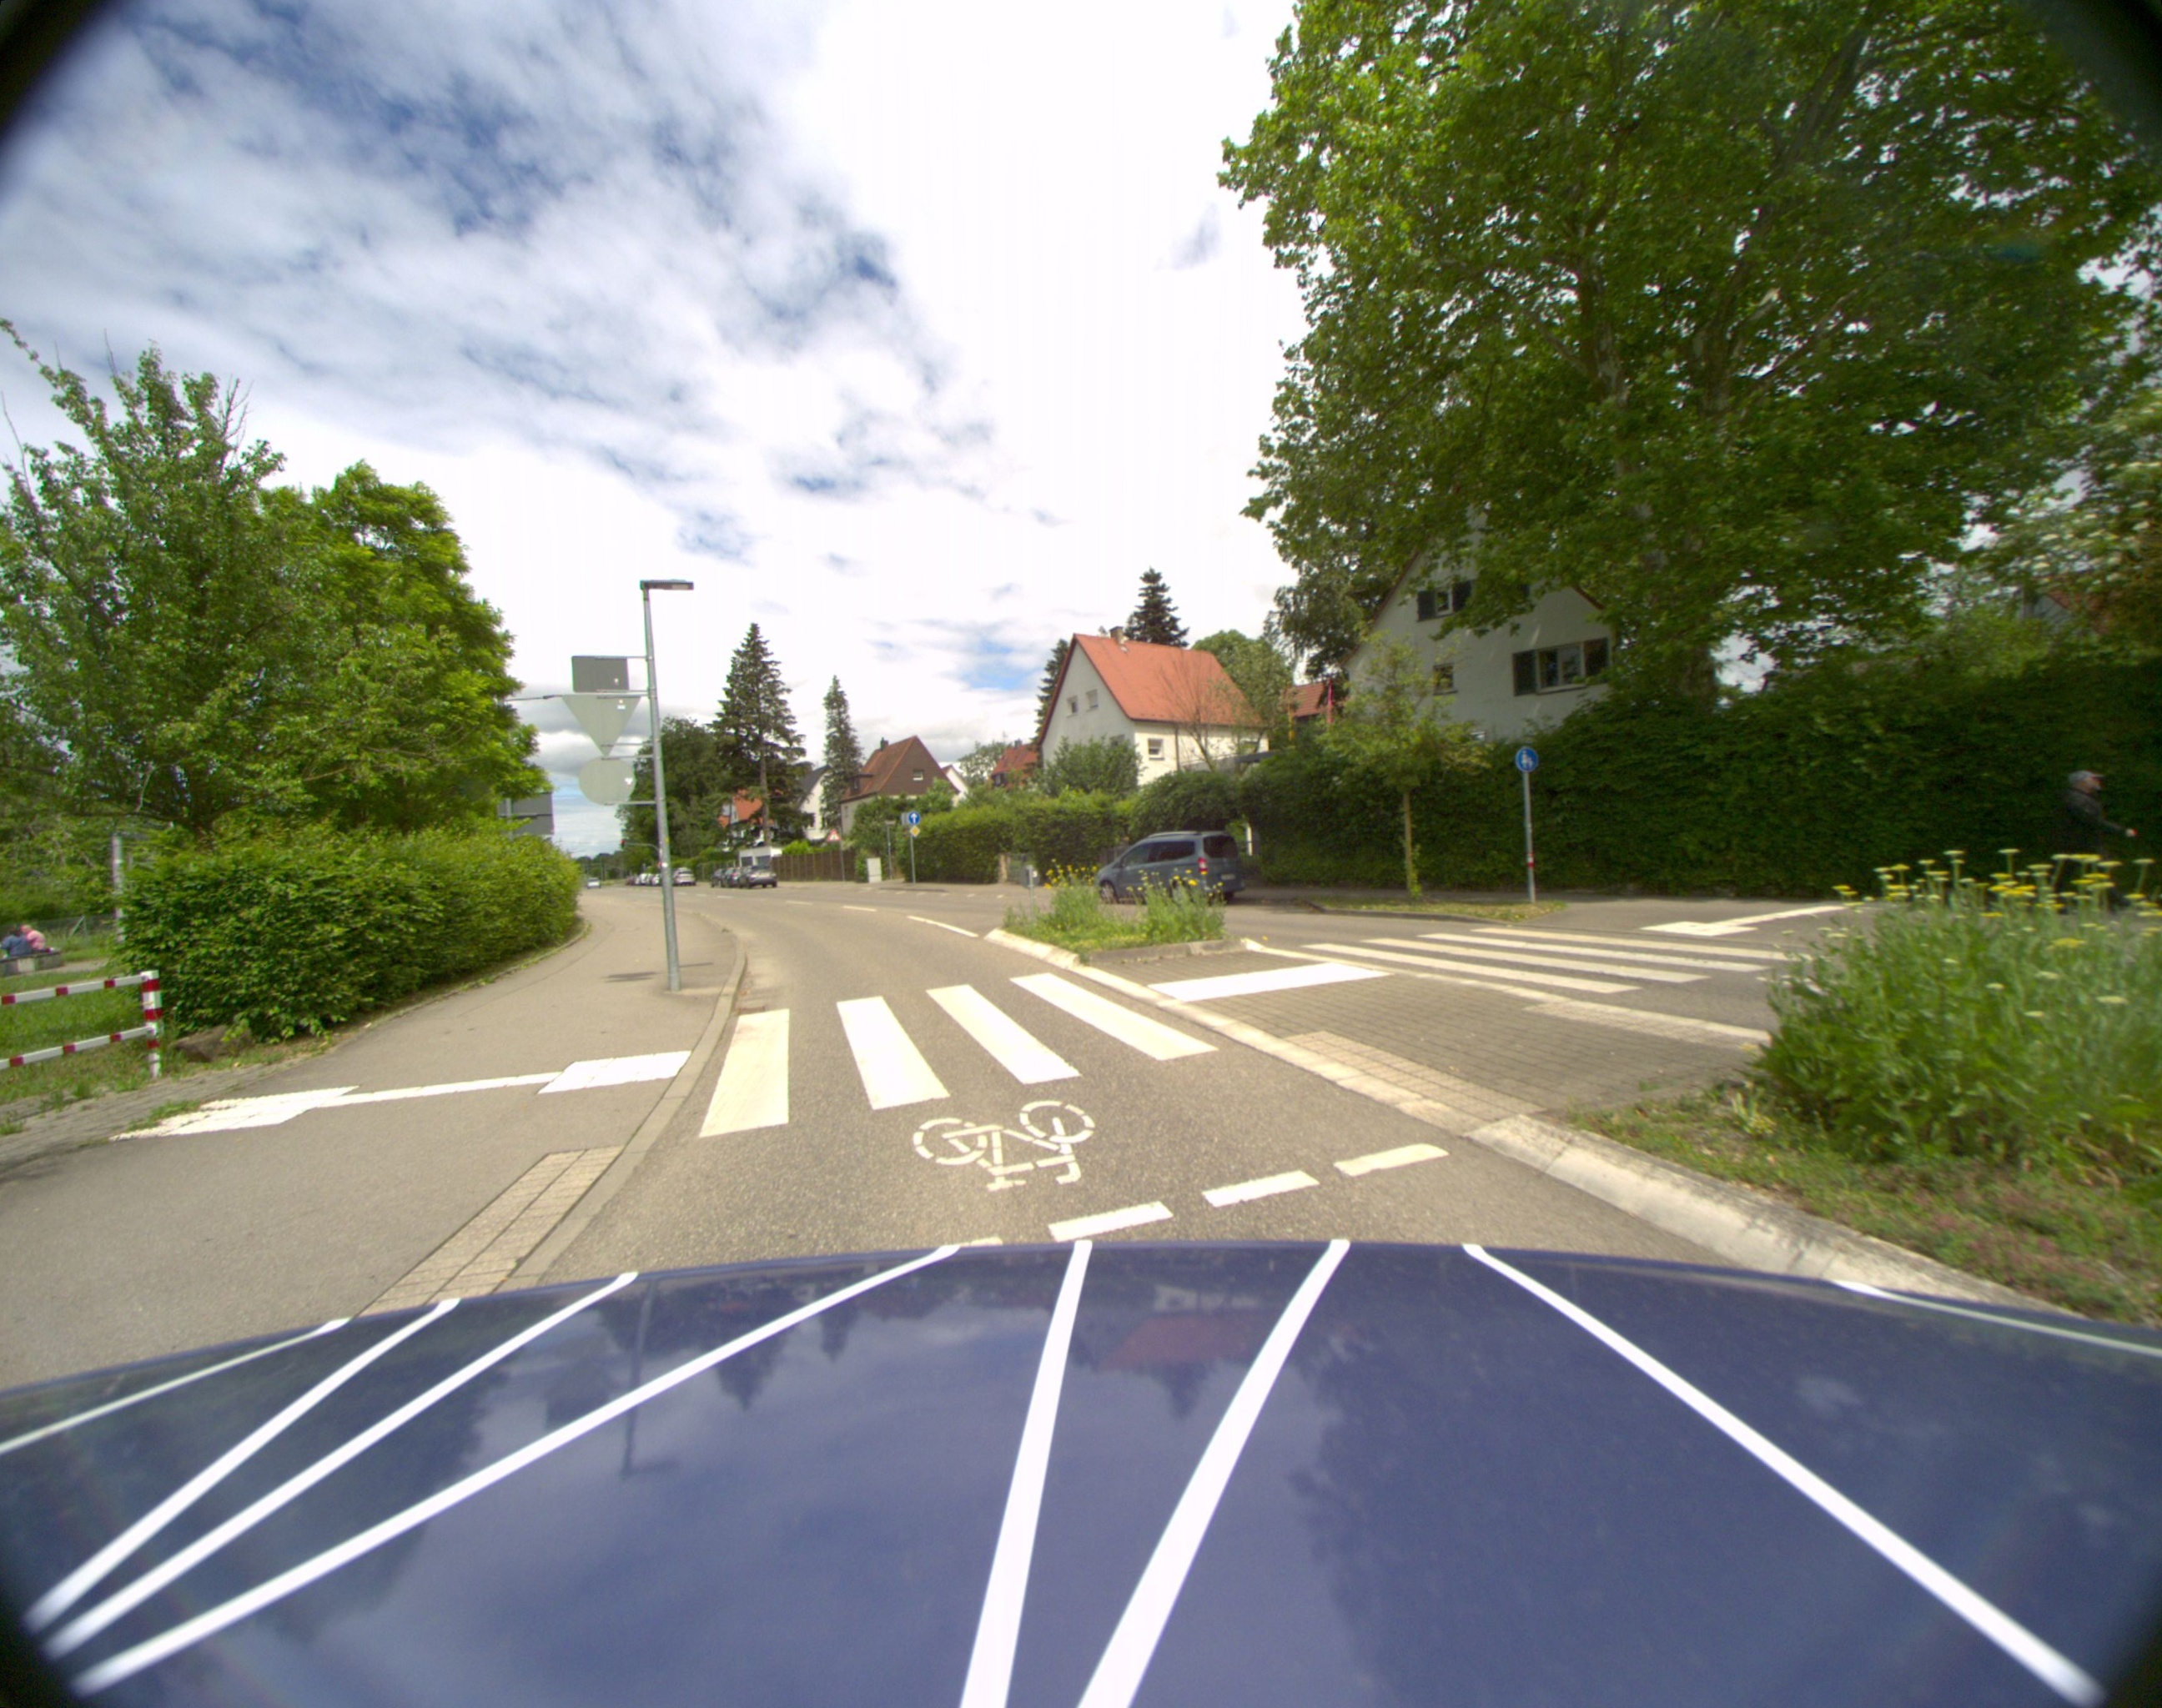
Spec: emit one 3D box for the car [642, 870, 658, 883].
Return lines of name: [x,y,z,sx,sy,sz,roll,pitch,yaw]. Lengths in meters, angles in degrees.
car: [-64.317,3.351,113.329,1.685,1.748,4.597,-3,0,-34]

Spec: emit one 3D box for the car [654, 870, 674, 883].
car: [-50.062,2.737,91.188,1.814,1.450,5.057,-3,0,-32]

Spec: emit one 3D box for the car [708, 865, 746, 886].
car: [-27.412,1.690,58.831,1.659,1.418,3.896,-3,0,-40]

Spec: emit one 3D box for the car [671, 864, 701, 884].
car: [-39.311,2.010,75.576,1.994,1.808,4.696,-5,1,-35]

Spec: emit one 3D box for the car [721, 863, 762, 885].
car: [-24.565,1.430,54.846,1.876,1.451,4.478,-4,1,-34]

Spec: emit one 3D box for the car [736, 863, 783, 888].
car: [-21.348,1.389,50.371,2.003,1.471,4.635,-3,1,-33]

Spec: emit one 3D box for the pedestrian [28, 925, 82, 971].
pedestrian: [-30.566,2.774,22.638,0.549,1.238,0.797,-3,1,-20]

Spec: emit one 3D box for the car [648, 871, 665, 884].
car: [-56.206,3.088,100.464,1.711,1.534,3.734,-3,0,-32]

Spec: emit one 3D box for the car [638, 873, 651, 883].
car: [-67.584,3.675,117.671,1.713,1.444,4.348,-1,-1,-30]

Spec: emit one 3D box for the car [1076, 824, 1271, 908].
car: [2.244,0.325,19.286,2.142,1.763,4.453,-7,3,-43]

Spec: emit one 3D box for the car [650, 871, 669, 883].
car: [-53.246,2.940,95.925,1.751,1.402,4.313,-3,0,-32]

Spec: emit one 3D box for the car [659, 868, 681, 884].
car: [-46.487,2.461,85.834,1.634,1.668,4.573,-2,-1,-35]

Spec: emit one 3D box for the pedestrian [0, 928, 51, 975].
pedestrian: [-30.304,2.784,21.749,0.566,1.227,0.797,-3,1,-20]
